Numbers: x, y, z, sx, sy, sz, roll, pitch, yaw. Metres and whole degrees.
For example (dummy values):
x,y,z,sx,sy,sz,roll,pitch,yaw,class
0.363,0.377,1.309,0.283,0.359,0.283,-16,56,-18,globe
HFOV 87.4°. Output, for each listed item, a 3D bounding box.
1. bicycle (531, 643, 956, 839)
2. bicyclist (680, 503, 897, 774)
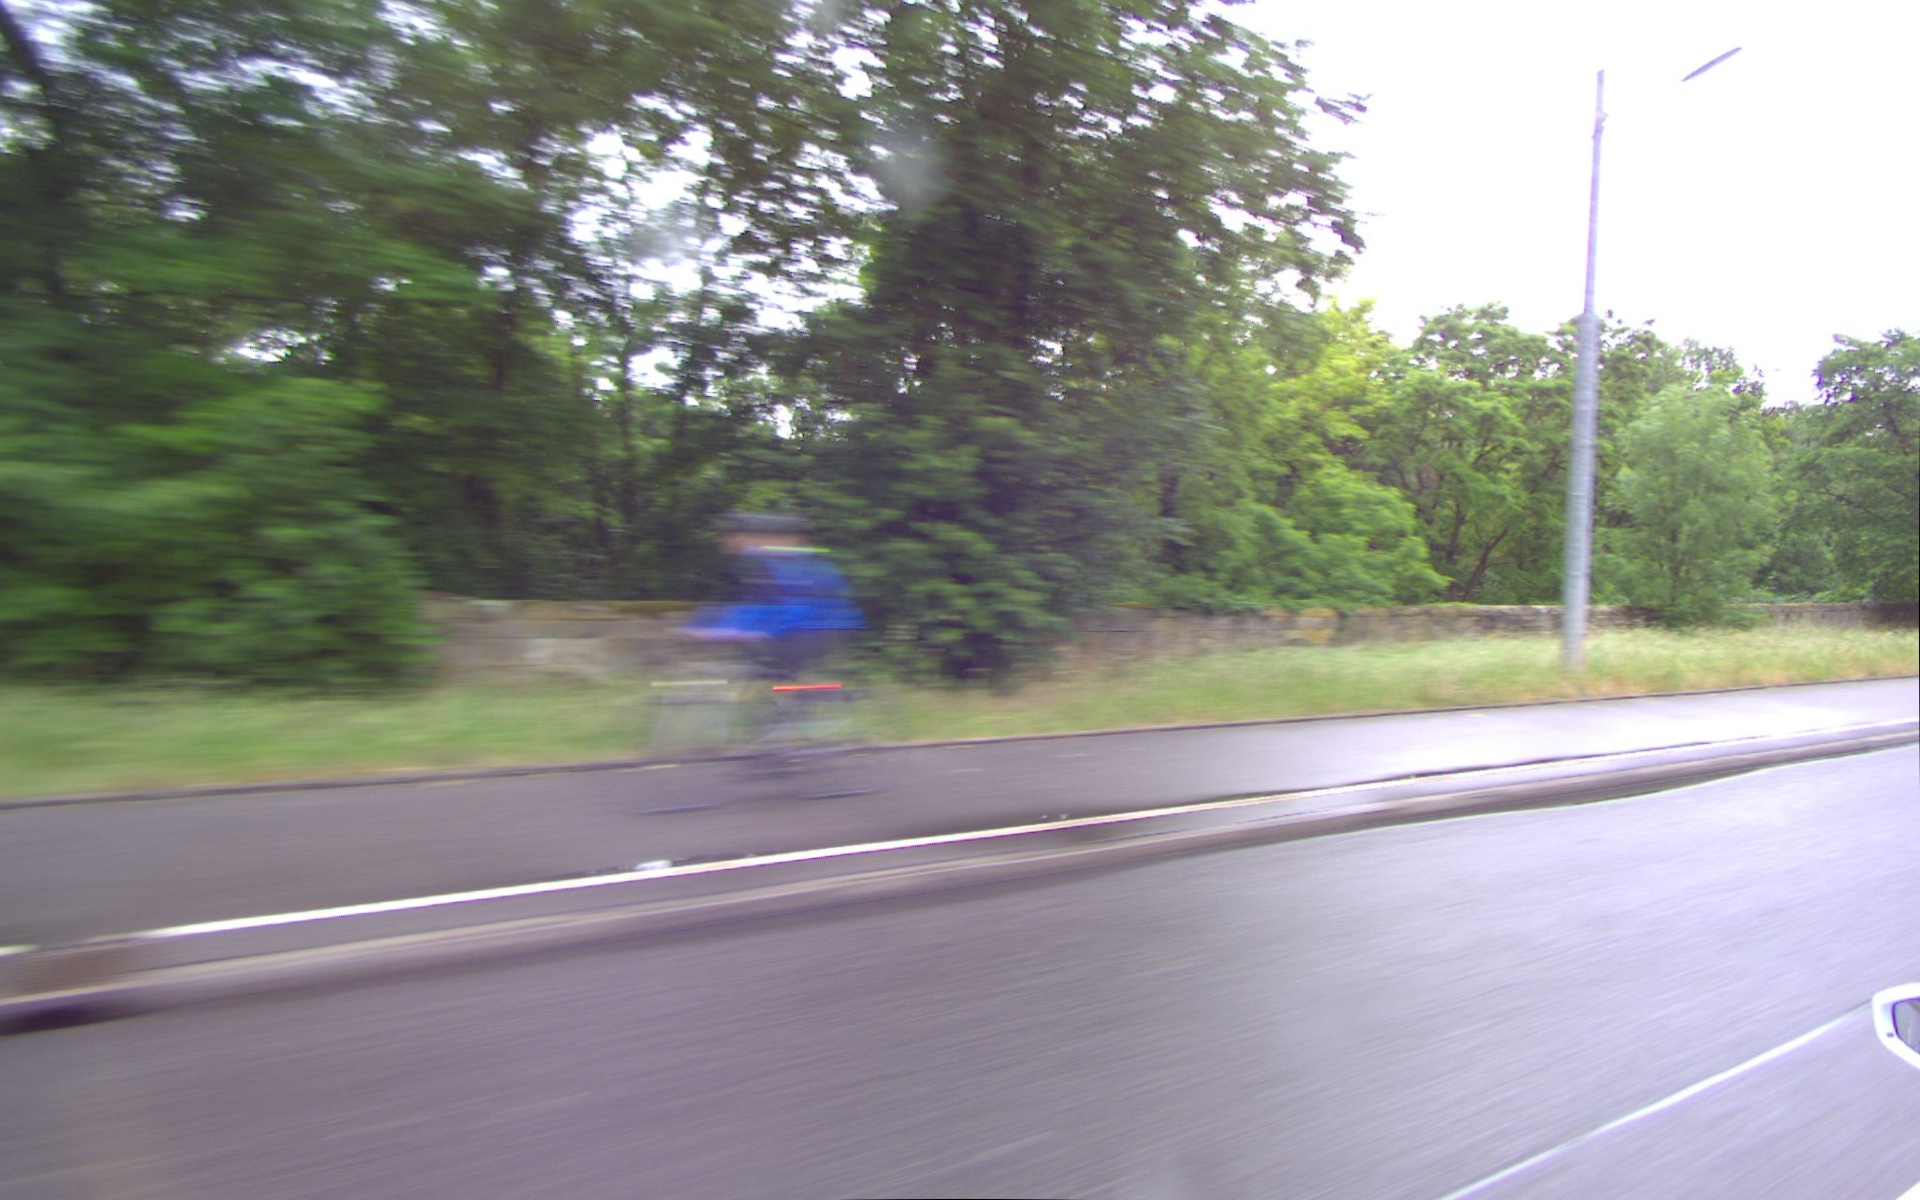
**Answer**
x,y,z,sx,sy,sz,roll,pitch,yaw,class
-1.304,0.803,6.360,2.521,0.954,0.720,1,4,-31,bicycle
-1.101,0.211,6.420,1.157,1.577,0.705,0,4,-31,bicyclist
